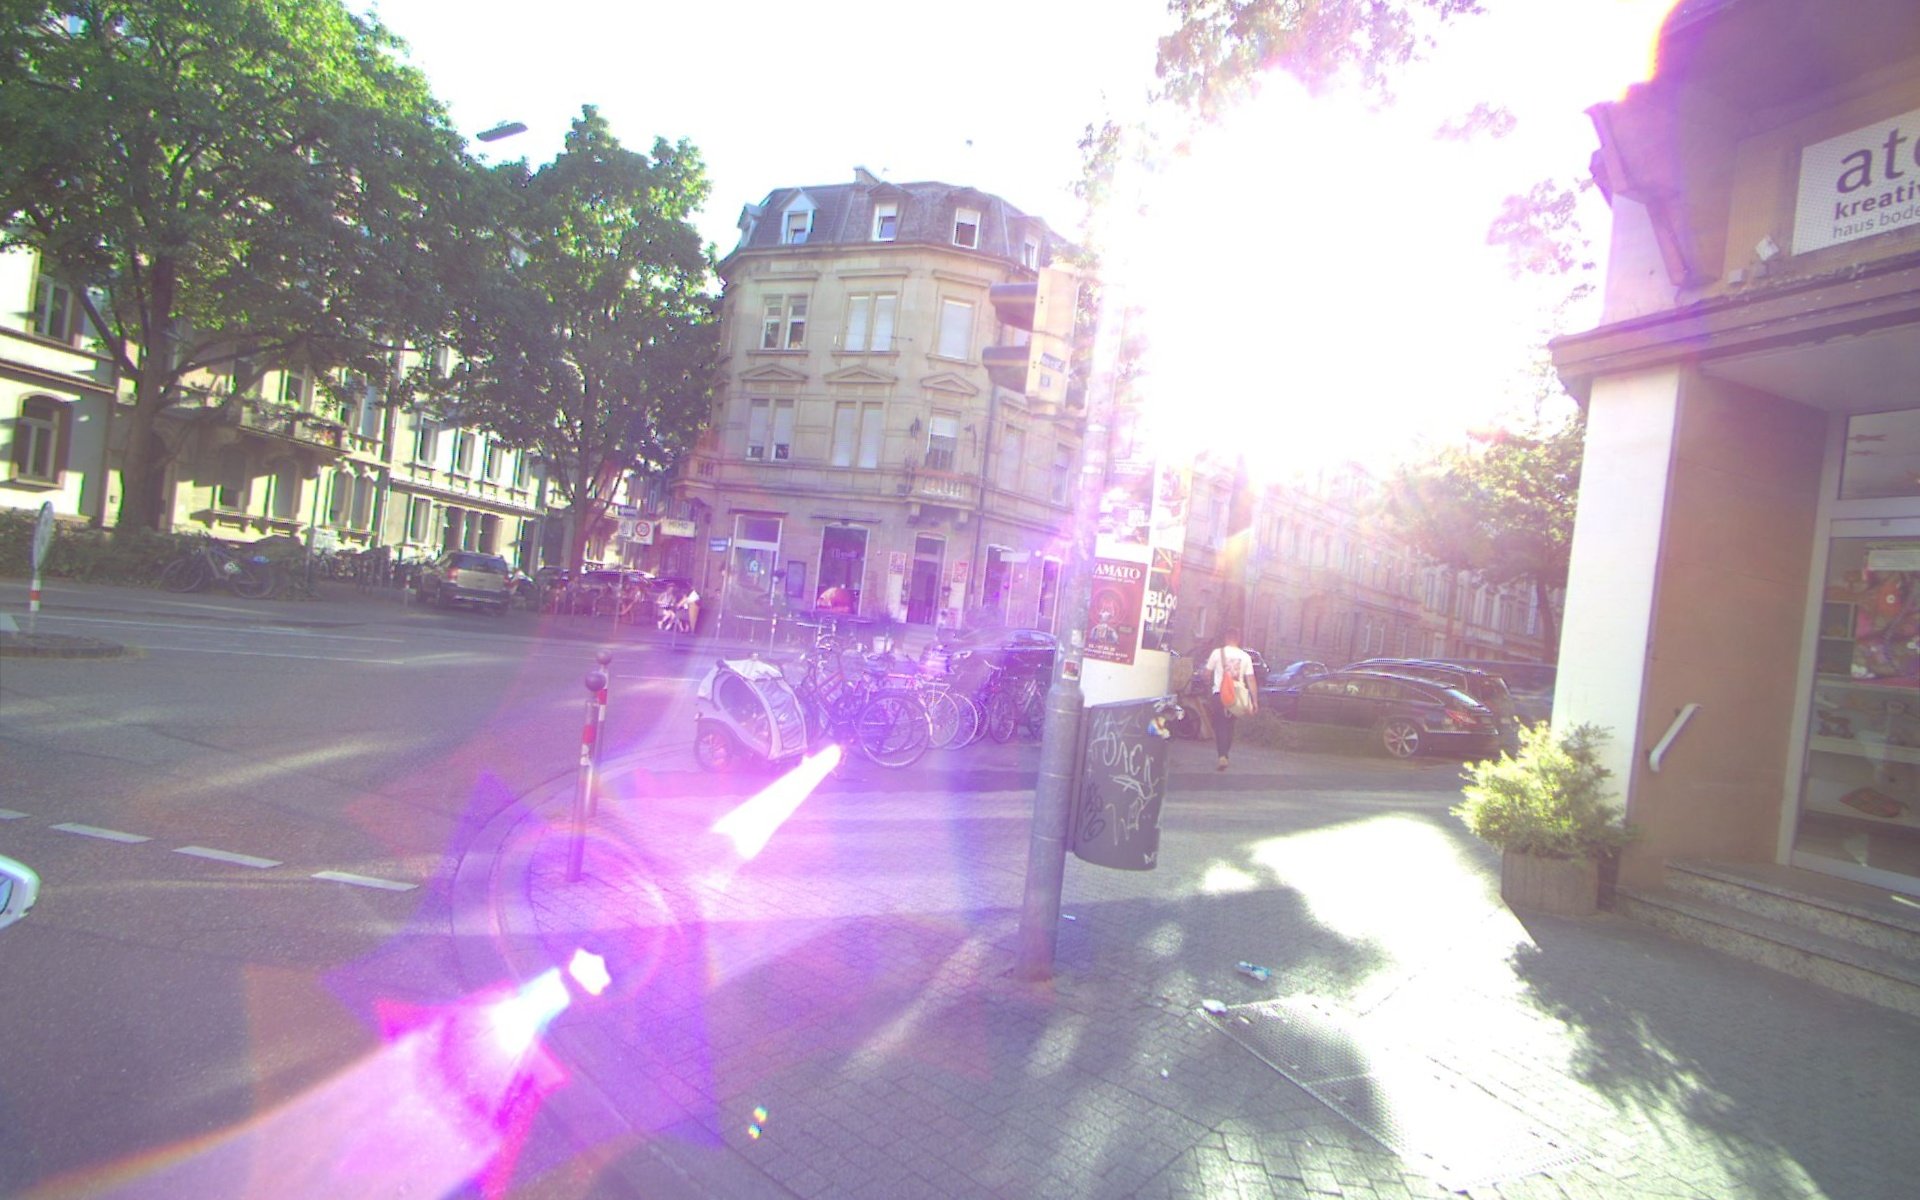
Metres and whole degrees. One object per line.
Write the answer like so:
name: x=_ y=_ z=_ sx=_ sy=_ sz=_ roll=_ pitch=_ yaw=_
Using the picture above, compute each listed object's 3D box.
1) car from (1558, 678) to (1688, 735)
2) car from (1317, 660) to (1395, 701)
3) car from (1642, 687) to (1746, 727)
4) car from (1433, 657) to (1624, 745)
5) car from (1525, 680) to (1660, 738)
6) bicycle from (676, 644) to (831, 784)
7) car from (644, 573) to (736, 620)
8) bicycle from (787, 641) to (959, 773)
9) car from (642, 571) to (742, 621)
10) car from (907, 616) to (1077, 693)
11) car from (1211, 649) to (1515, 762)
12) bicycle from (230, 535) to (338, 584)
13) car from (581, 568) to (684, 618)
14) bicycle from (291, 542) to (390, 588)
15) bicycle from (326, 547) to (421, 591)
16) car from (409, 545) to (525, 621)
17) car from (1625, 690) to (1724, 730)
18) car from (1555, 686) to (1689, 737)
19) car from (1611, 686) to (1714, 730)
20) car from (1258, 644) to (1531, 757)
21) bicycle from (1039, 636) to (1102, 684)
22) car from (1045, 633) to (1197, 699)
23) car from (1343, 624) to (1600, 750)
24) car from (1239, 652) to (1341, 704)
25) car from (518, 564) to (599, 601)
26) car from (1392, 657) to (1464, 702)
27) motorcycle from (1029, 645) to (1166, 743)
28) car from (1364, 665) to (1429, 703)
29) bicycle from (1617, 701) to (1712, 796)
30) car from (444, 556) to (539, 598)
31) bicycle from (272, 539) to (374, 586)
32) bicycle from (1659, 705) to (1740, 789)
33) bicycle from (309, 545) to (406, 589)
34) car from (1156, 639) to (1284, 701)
car: x=28.232 y=4.485 z=42.914 sx=4.397 sy=1.948 sz=1.841 roll=3 pitch=-1 yaw=40
car: x=17.744 y=3.627 z=44.944 sx=1.741 sy=1.519 sz=4.037 roll=5 pitch=-1 yaw=44
car: x=46.071 y=6.686 z=63.227 sx=5.006 sy=1.948 sz=1.825 roll=3 pitch=-2 yaw=42
car: x=16.923 y=2.957 z=30.061 sx=4.624 sy=2.057 sz=1.871 roll=4 pitch=-2 yaw=39
car: x=23.444 y=4.015 z=37.355 sx=3.968 sy=1.647 sz=1.797 roll=4 pitch=-2 yaw=41
bicycle: x=-1.793 y=0.967 z=8.802 sx=0.981 sy=1.039 sz=0.738 roll=7 pitch=0 yaw=21
car: x=-12.753 y=-0.147 z=47.503 sx=3.942 sy=1.704 sz=1.992 roll=7 pitch=-1 yaw=-19
bicycle: x=-0.826 y=1.004 z=9.506 sx=1.454 sy=1.106 sz=0.573 roll=6 pitch=-2 yaw=-17
car: x=-11.901 y=-0.158 z=44.934 sx=3.932 sy=1.704 sz=1.997 roll=7 pitch=0 yaw=-9
car: x=0.856 y=1.382 z=24.935 sx=4.114 sy=1.505 sz=1.743 roll=8 pitch=-2 yaw=-44
car: x=7.209 y=1.856 z=18.369 sx=4.741 sy=1.429 sz=1.841 roll=4 pitch=-3 yaw=45
bicycle: x=-21.944 y=-1.324 z=32.659 sx=3.077 sy=1.195 sz=0.752 roll=7 pitch=0 yaw=7
car: x=-13.477 y=-0.298 z=41.373 sx=3.786 sy=1.581 sz=1.793 roll=7 pitch=-1 yaw=-24
bicycle: x=-21.611 y=-1.223 z=35.123 sx=3.077 sy=1.195 sz=0.752 roll=7 pitch=0 yaw=7
bicycle: x=-21.426 y=-1.131 z=36.756 sx=3.077 sy=1.195 sz=0.752 roll=7 pitch=0 yaw=7
car: x=-13.882 y=-0.515 z=28.232 sx=1.984 sy=1.704 sz=3.957 roll=7 pitch=-1 yaw=-39
car: x=38.445 y=5.888 z=54.244 sx=4.169 sy=1.630 sz=1.830 roll=4 pitch=-2 yaw=35
car: x=26.761 y=4.453 z=40.744 sx=4.301 sy=1.575 sz=1.840 roll=2 pitch=-2 yaw=42
car: x=36.591 y=5.595 z=52.468 sx=4.177 sy=1.798 sz=1.826 roll=3 pitch=-2 yaw=41
car: x=8.702 y=1.972 z=20.419 sx=4.642 sy=1.699 sz=1.841 roll=4 pitch=-2 yaw=44
bicycle: x=3.322 y=1.800 z=30.351 sx=0.525 sy=1.142 sz=1.849 roll=7 pitch=1 yaw=-45
car: x=4.639 y=1.900 z=28.551 sx=4.521 sy=1.469 sz=1.743 roll=8 pitch=-2 yaw=-43
car: x=12.145 y=2.011 z=24.123 sx=4.968 sy=2.242 sz=1.983 roll=6 pitch=0 yaw=42
car: x=11.744 y=2.798 z=35.679 sx=1.742 sy=1.519 sz=4.036 roll=5 pitch=-1 yaw=45
car: x=-19.401 y=-0.801 z=48.752 sx=1.892 sy=1.392 sz=3.754 roll=7 pitch=-1 yaw=8
car: x=24.461 y=4.173 z=52.450 sx=1.812 sy=1.967 sz=5.234 roll=9 pitch=1 yaw=41
motorcycle: x=2.014 y=1.368 z=14.947 sx=1.879 sy=1.248 sz=0.682 roll=3 pitch=-2 yaw=43
car: x=20.925 y=4.027 z=48.169 sx=1.576 sy=1.493 sz=3.679 roll=9 pitch=1 yaw=44
bicycle: x=10.114 y=2.100 z=14.398 sx=0.664 sy=1.185 sz=2.578 roll=4 pitch=-3 yaw=44
car: x=-20.331 y=-0.969 z=43.843 sx=1.892 sy=1.392 sz=3.754 roll=7 pitch=-1 yaw=8
bicycle: x=-21.723 y=-1.268 z=34.340 sx=3.077 sy=1.195 sz=0.752 roll=7 pitch=0 yaw=7
bicycle: x=11.959 y=2.352 z=16.226 sx=0.664 sy=1.185 sz=2.578 roll=4 pitch=-3 yaw=44
bicycle: x=-21.515 y=-1.176 z=35.949 sx=3.077 sy=1.195 sz=0.752 roll=7 pitch=0 yaw=7
car: x=8.355 y=2.271 z=32.109 sx=4.522 sy=1.619 sz=1.743 roll=7 pitch=-1 yaw=-44
